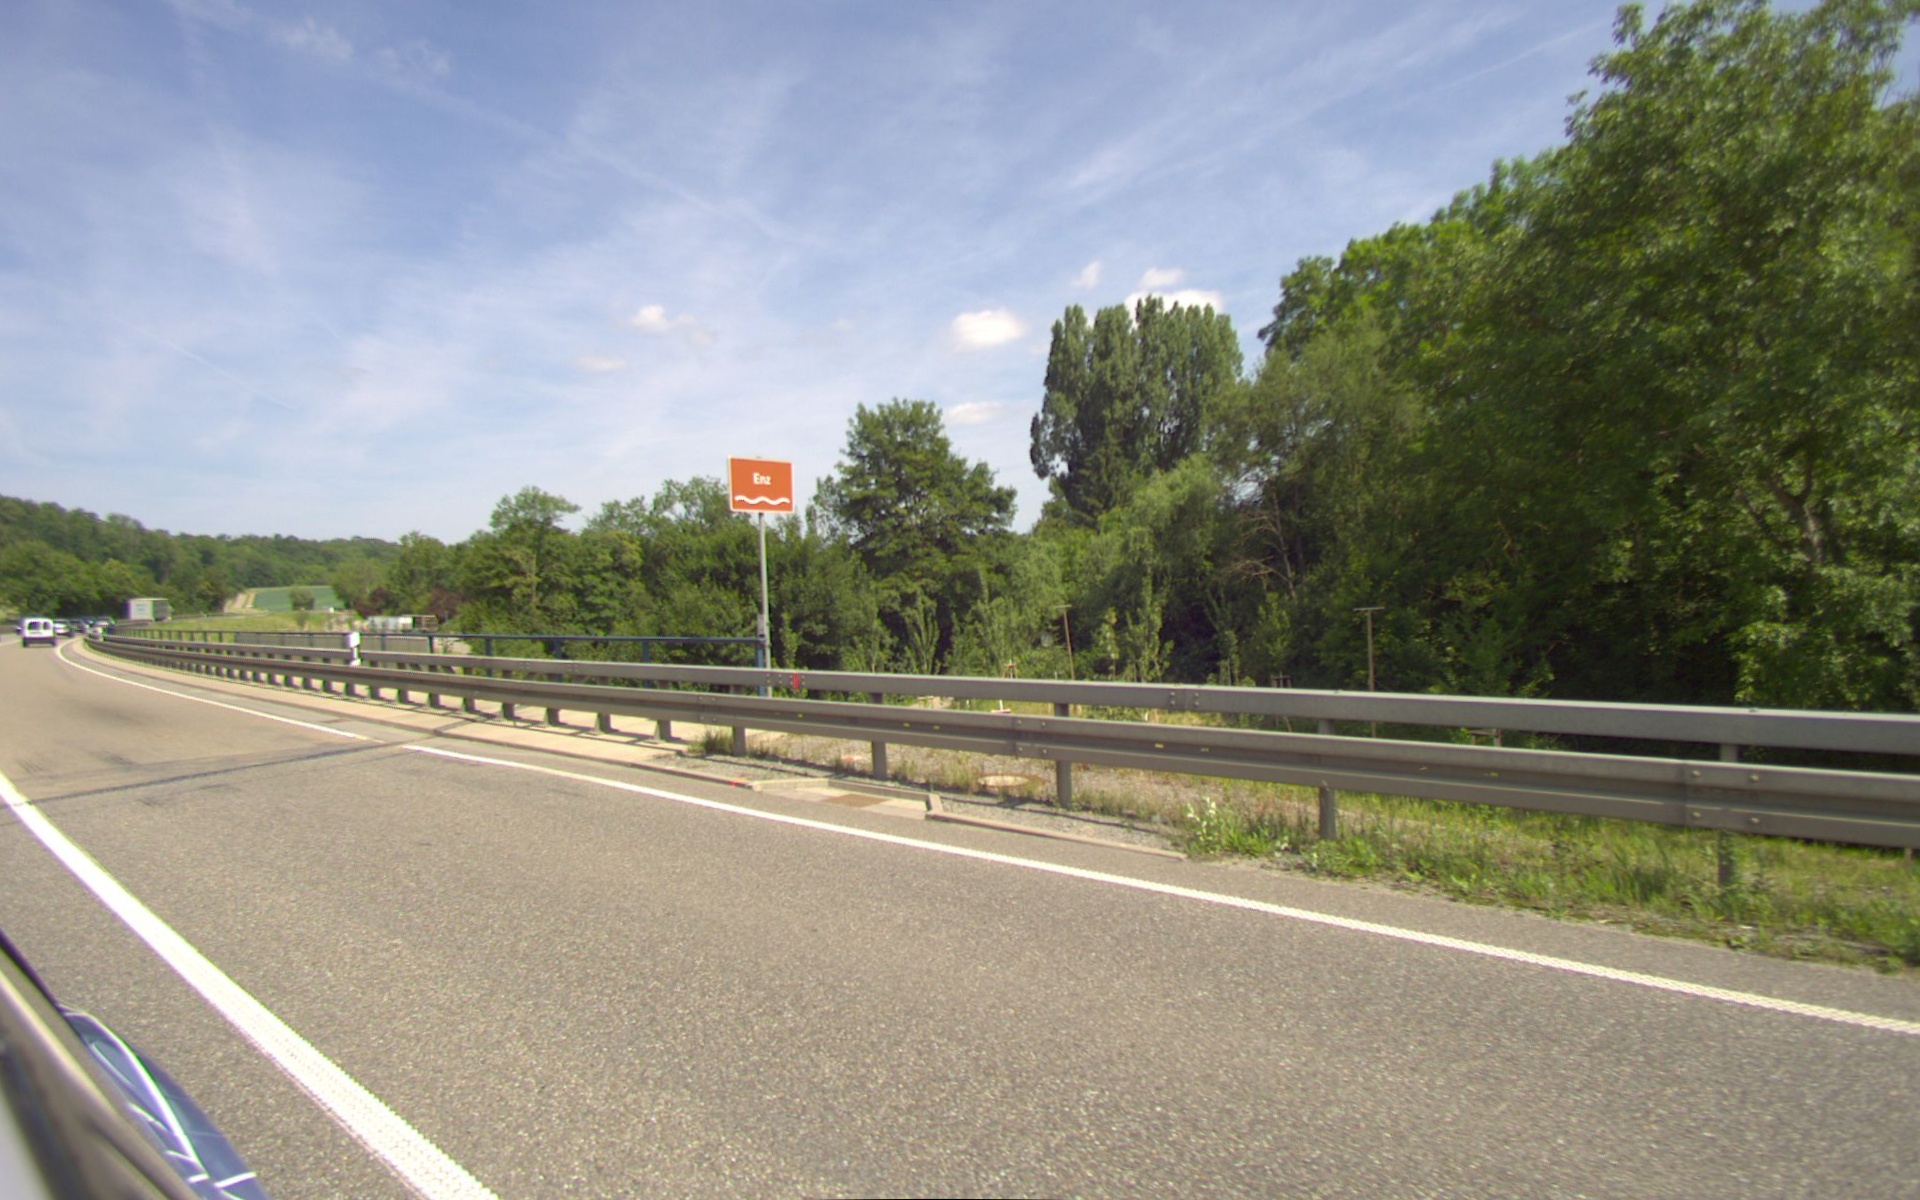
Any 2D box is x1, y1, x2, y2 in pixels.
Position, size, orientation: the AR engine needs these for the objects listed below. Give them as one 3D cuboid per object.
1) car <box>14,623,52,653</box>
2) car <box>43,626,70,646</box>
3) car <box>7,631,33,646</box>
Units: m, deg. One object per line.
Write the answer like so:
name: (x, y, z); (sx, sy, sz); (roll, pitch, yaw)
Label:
car: (-59.283, 2.416, 64.765); (1.717, 1.788, 4.041); (0, -1, -42)
car: (-78.530, 3.111, 87.991); (1.717, 1.623, 3.812); (0, -1, -42)
car: (-95.329, 3.879, 102.662); (1.716, 1.465, 4.043); (0, -1, -39)
